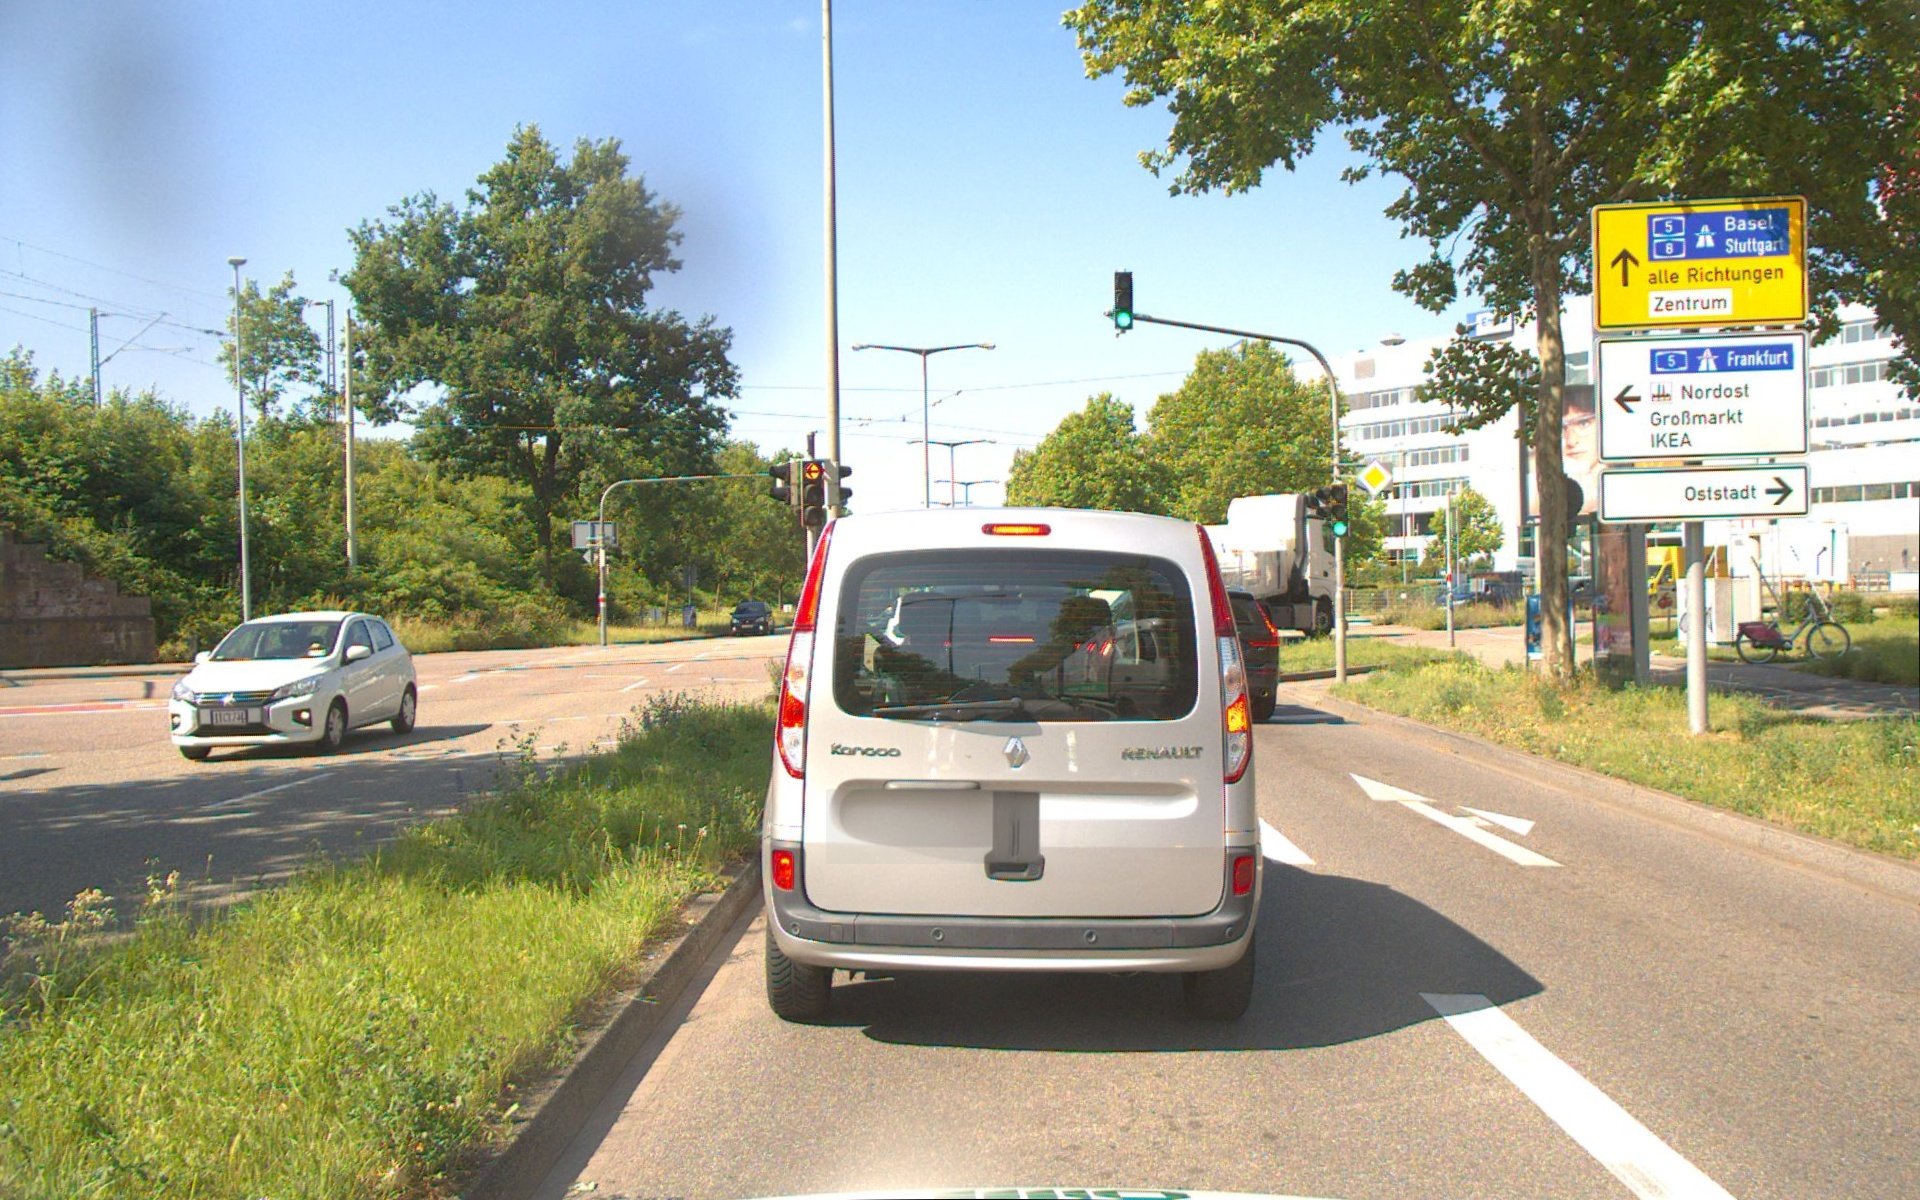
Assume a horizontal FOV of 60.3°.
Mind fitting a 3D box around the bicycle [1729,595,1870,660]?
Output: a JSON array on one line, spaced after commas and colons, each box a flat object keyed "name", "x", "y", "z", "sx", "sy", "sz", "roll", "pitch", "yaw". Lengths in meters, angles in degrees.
[{"name": "bicycle", "x": 13.760, "y": 0.449, "z": 27.163, "sx": 1.959, "sy": 1.031, "sz": 0.621, "roll": -1, "pitch": 0, "yaw": 16}]

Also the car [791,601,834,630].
[{"name": "car", "x": -8.610, "y": 0.901, "z": 96.806, "sx": 1.952, "sy": 1.567, "sz": 4.237, "roll": -1, "pitch": 0, "yaw": 2}]

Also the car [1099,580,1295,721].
[{"name": "car", "x": 2.956, "y": 0.596, "z": 21.520, "sx": 1.837, "sy": 1.619, "sz": 4.432, "roll": 1, "pitch": 0, "yaw": -1}]

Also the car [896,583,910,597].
[{"name": "car", "x": -8.678, "y": -1.528, "z": 250.398, "sx": 1.849, "sy": 2.049, "sz": 4.001, "roll": 1, "pitch": 0, "yaw": 1}]

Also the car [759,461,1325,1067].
[{"name": "car", "x": 0.233, "y": 0.524, "z": 7.189, "sx": 1.750, "sy": 1.870, "sz": 3.999, "roll": 1, "pitch": 0, "yaw": -1}]

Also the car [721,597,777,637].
[{"name": "car", "x": -9.346, "y": 0.756, "z": 73.441, "sx": 1.872, "sy": 1.670, "sz": 3.738, "roll": -1, "pitch": 0, "yaw": 2}]

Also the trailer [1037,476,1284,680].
[{"name": "trailer", "x": 4.829, "y": -0.365, "z": 36.450, "sx": 2.839, "sy": 3.686, "sz": 12.690, "roll": 1, "pitch": 0, "yaw": 19}]

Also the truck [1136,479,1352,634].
[{"name": "truck", "x": 7.549, "y": -1.013, "z": 43.192, "sx": 2.860, "sy": 3.707, "sz": 7.166, "roll": 1, "pitch": 0, "yaw": 34}]

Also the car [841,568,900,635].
[{"name": "car", "x": -3.723, "y": 0.062, "z": 69.569, "sx": 1.952, "sy": 2.653, "sz": 5.135, "roll": -1, "pitch": 0, "yaw": 2}]

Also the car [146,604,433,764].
[{"name": "car", "x": -7.463, "y": 0.859, "z": 18.842, "sx": 1.665, "sy": 1.534, "sz": 3.999, "roll": -1, "pitch": 1, "yaw": -1}]
